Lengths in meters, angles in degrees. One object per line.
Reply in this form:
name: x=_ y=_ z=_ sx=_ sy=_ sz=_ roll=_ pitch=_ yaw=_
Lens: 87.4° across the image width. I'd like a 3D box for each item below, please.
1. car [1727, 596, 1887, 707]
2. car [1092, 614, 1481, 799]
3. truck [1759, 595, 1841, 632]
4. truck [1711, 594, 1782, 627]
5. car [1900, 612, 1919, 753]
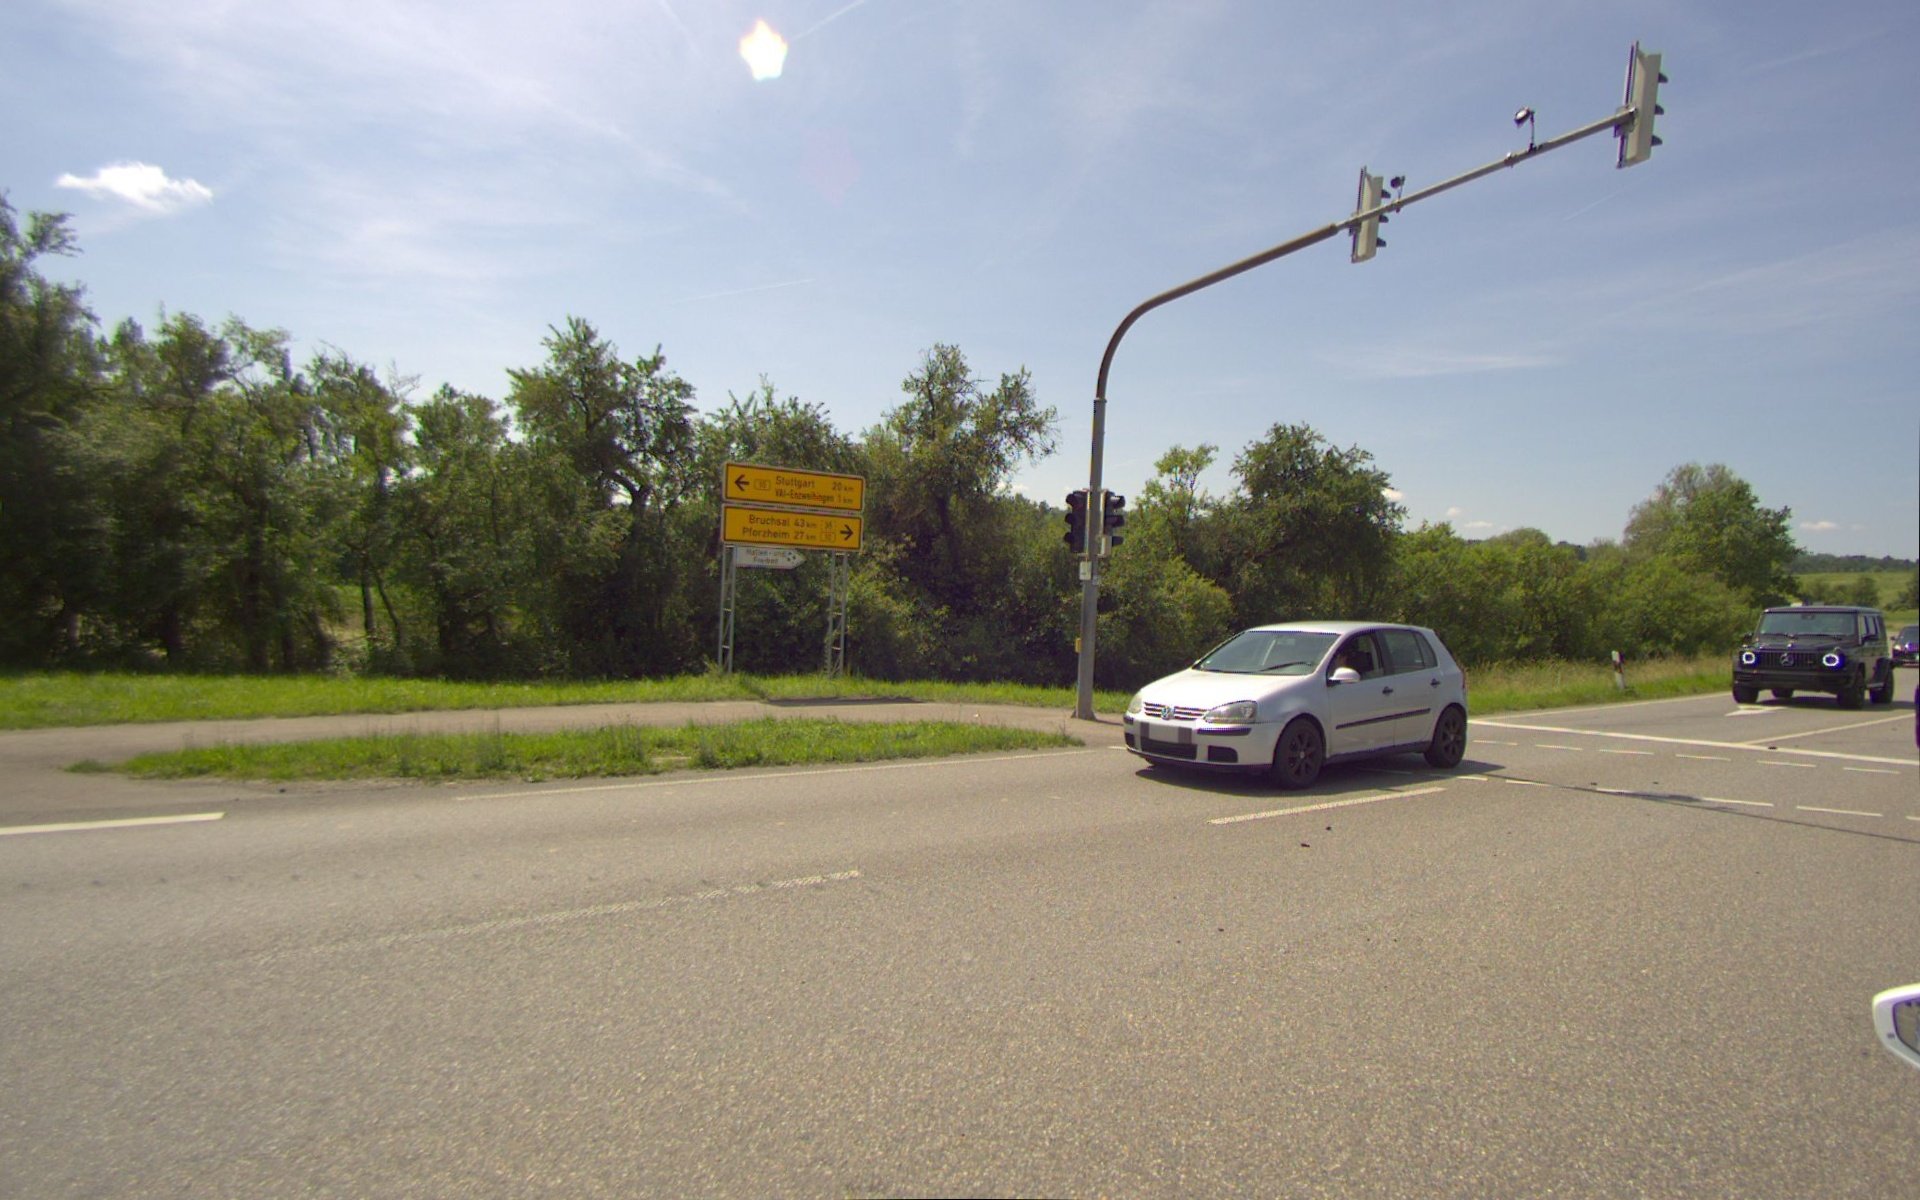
car: x=17.789 y=1.024 z=21.000 sx=5.128 sy=2.032 sz=1.975 roll=2 pitch=-1 yaw=-43
car: x=3.383 y=0.942 z=10.123 sx=3.962 sy=1.515 sz=1.759 roll=2 pitch=-2 yaw=-36
truck: x=103.147 y=1.715 z=123.628 sx=3.578 sy=4.183 sz=13.096 roll=3 pitch=-1 yaw=21
truck: x=108.587 y=1.544 z=139.040 sx=3.471 sy=4.296 sz=13.408 roll=3 pitch=-1 yaw=19
car: x=13.375 y=1.039 z=12.585 sx=3.965 sy=1.680 sz=1.757 roll=2 pitch=-1 yaw=-38
